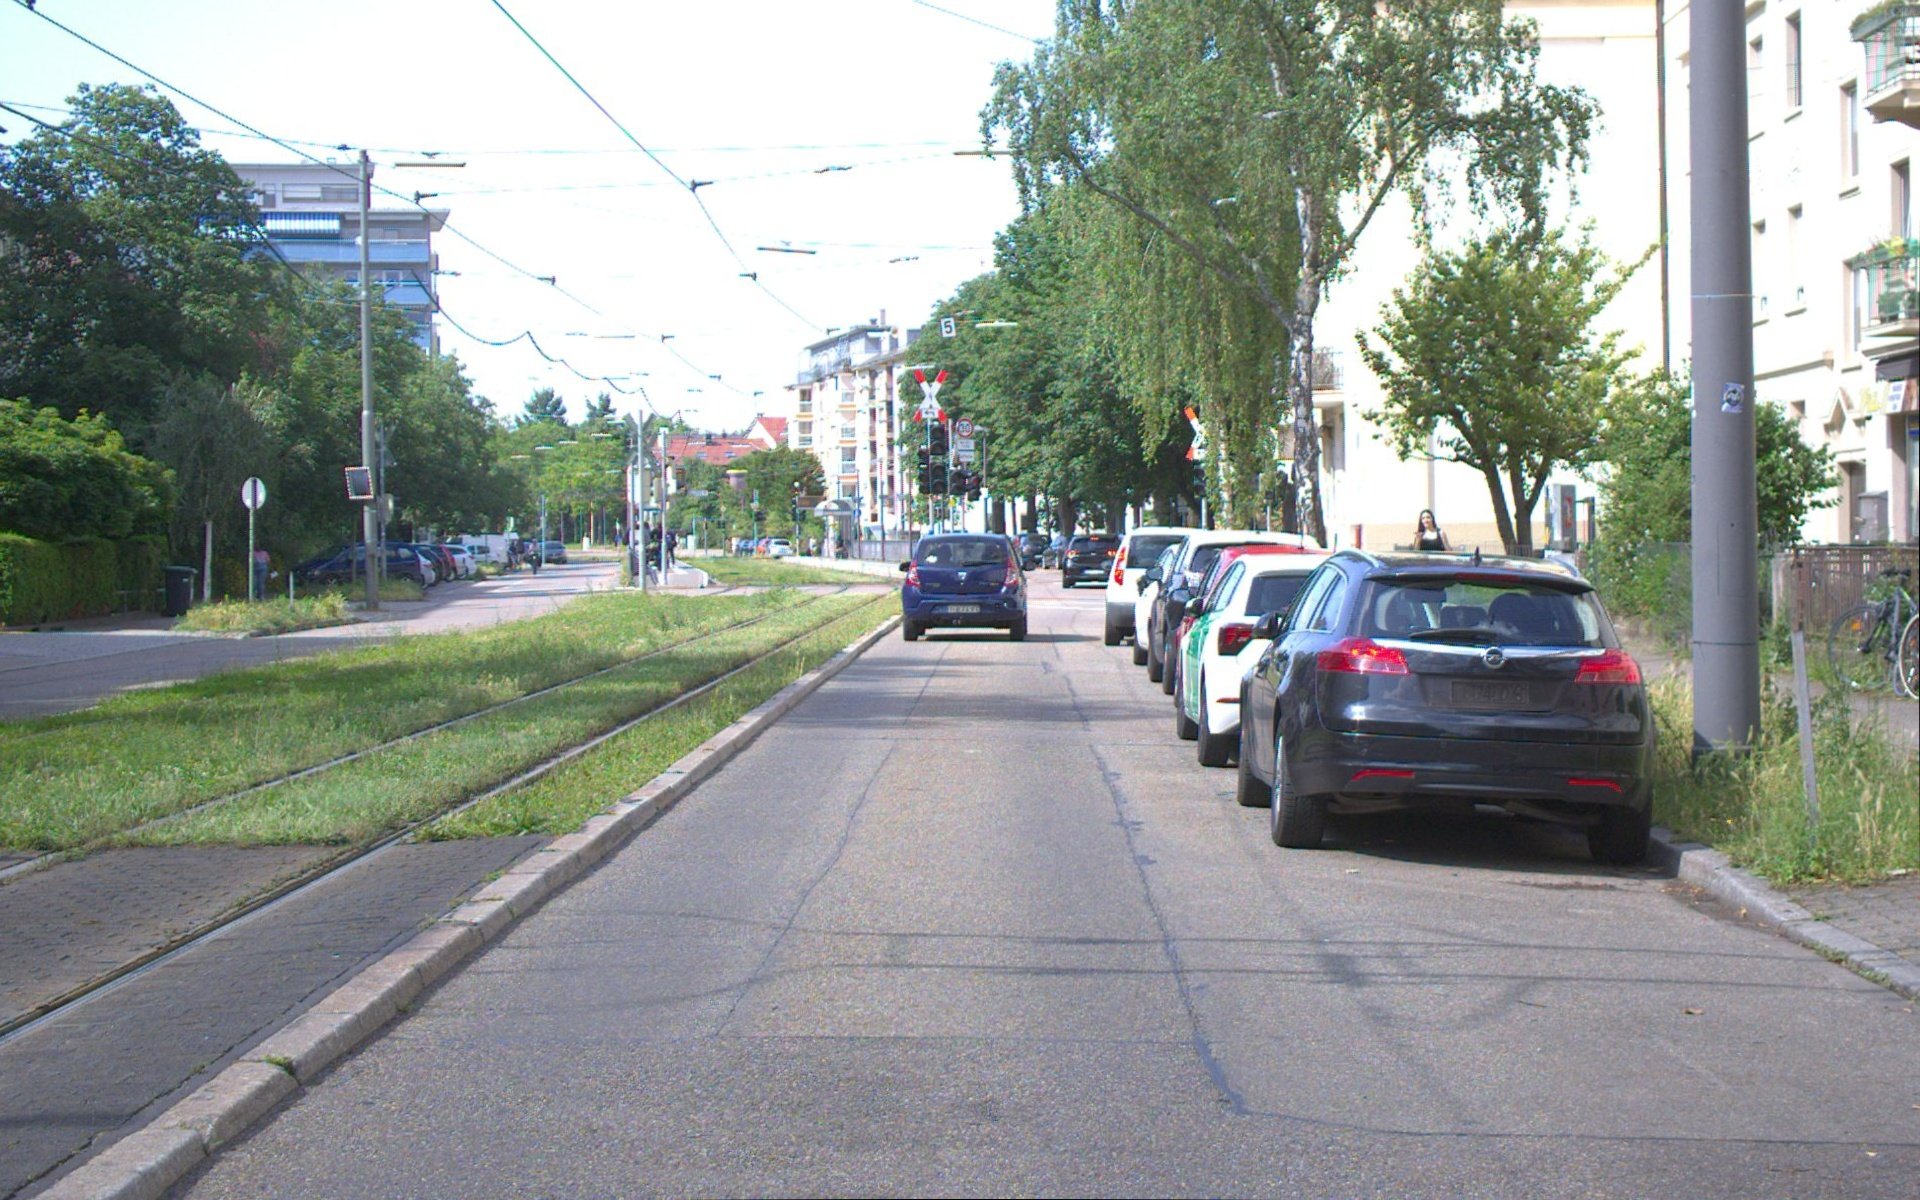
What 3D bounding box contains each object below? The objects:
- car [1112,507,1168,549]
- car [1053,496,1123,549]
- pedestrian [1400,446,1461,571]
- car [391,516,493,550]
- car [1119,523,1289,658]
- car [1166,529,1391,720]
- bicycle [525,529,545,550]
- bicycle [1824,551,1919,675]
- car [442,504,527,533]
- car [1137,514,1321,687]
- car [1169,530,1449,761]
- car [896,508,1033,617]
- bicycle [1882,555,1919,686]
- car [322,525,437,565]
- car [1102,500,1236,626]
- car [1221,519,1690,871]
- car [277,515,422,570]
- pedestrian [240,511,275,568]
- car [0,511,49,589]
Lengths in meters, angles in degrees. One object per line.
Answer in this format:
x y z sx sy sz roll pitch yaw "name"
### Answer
6.656 -2.669 127.172 1.861 1.440 4.000 -2 2 1 "car"
3.432 -2.094 92.609 1.700 1.363 3.515 1 2 -1 "car"
6.505 -1.269 47.567 0.730 1.677 0.691 -3 1 5 "pedestrian"
-21.906 -2.839 145.520 1.715 1.362 3.990 0 2 45 "car"
2.769 -0.146 39.654 1.672 1.412 3.795 2 1 0 "car"
2.684 0.159 29.694 1.589 1.447 3.844 3 1 1 "car"
-20.583 -2.939 166.604 0.680 0.967 2.179 -1 2 -1 "bicycle"
7.245 0.088 27.308 0.387 0.935 1.585 -1 2 1 "bicycle"
-24.322 -4.183 175.881 3.988 1.442 1.728 -2 2 -39 "car"
2.640 -0.042 34.358 1.493 1.574 3.759 2 2 0 "car"
2.403 0.257 24.444 1.619 1.447 3.919 2 1 1 "car"
0.103 -0.560 48.808 1.768 1.457 3.775 -1 2 2 "car"
7.244 0.154 25.355 0.377 0.940 2.009 -1 2 1 "bicycle"
-18.884 -1.784 111.833 3.380 1.232 1.543 -2 2 -44 "car"
2.910 -0.538 47.619 1.721 1.624 4.000 2 2 4 "car"
2.431 0.381 17.954 1.792 1.515 4.527 2 2 1 "car"
-18.779 -1.781 105.817 4.122 1.635 1.725 -2 2 -44 "car"
-19.716 -1.693 96.490 0.745 1.568 0.889 -1 0 4 "pedestrian"
-21.184 -1.032 71.393 3.986 1.590 2.000 -1 1 -1 "car"
